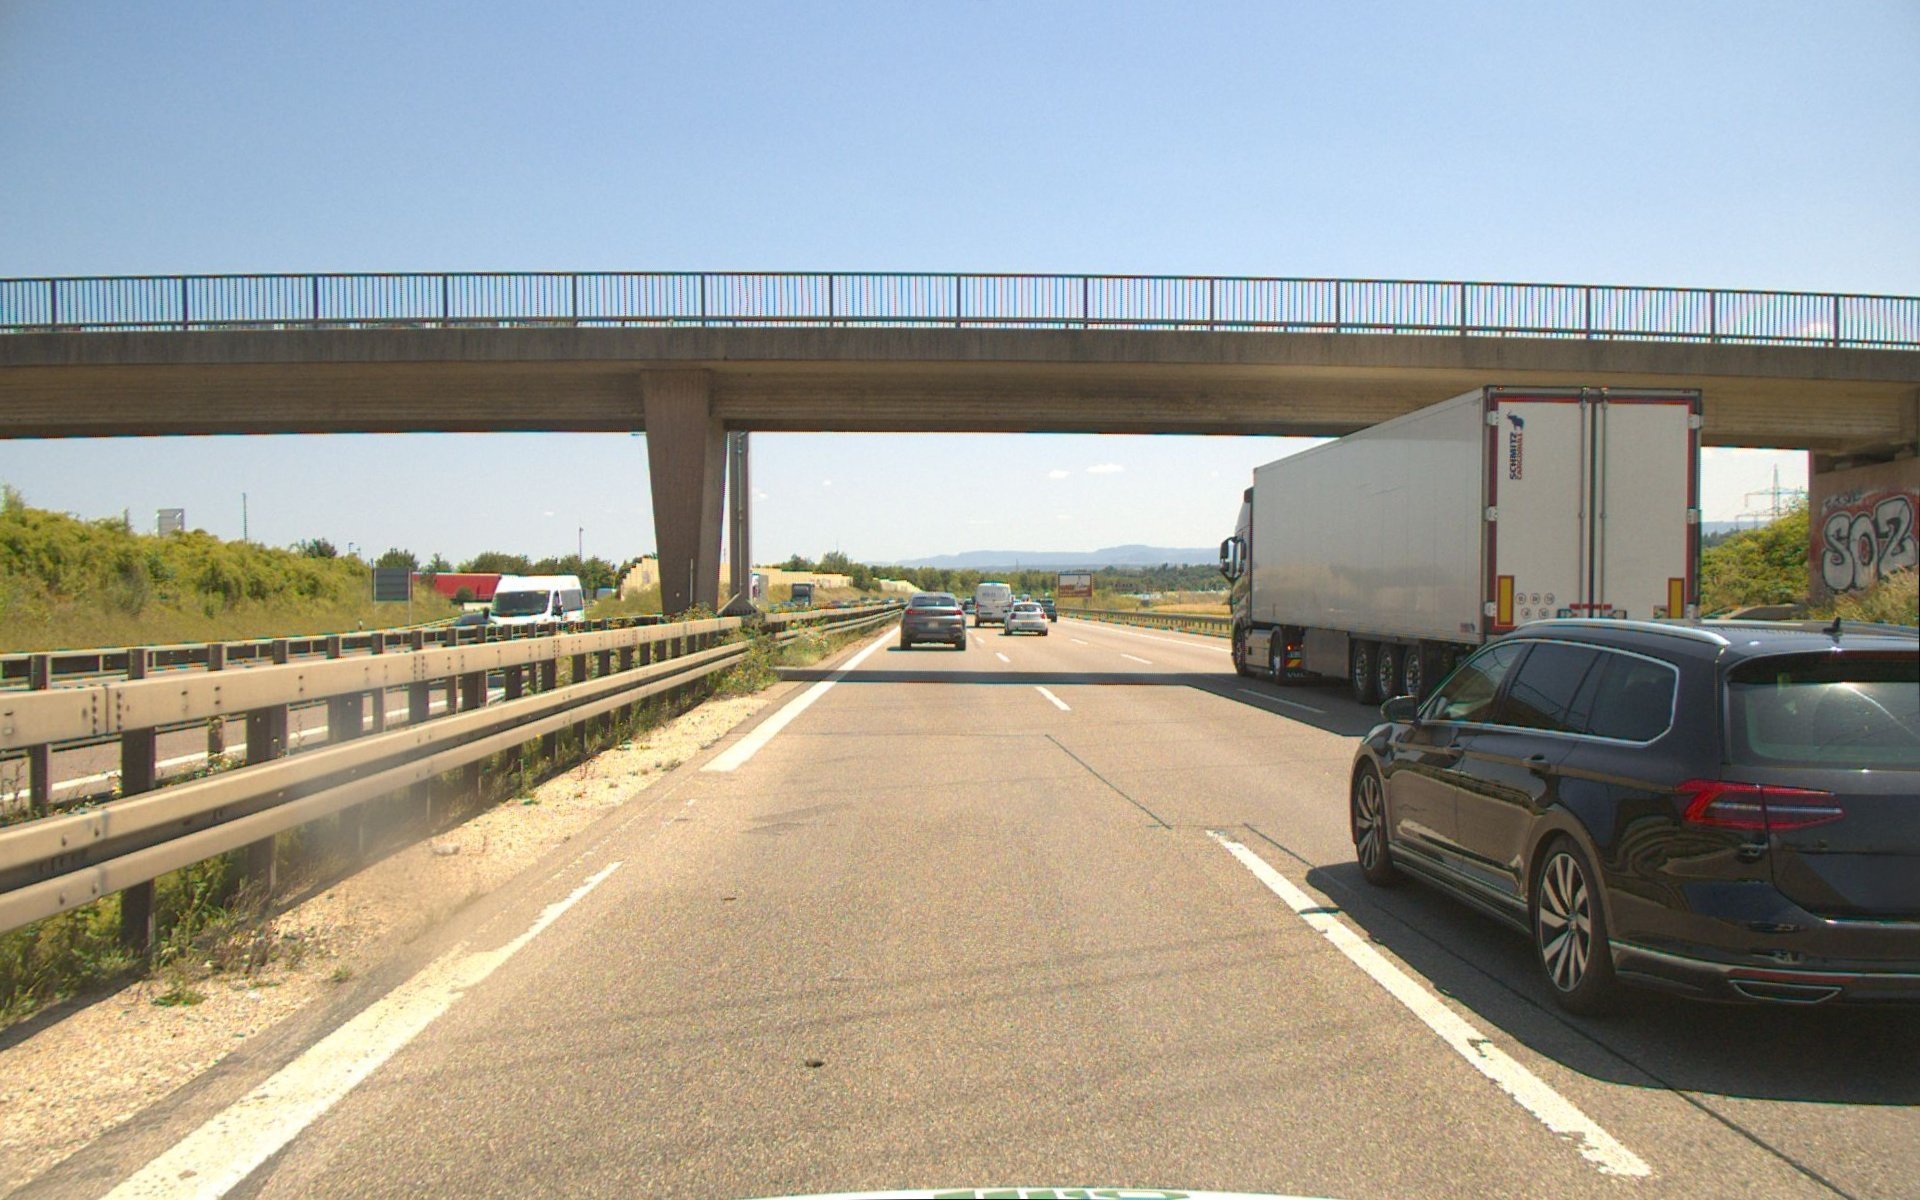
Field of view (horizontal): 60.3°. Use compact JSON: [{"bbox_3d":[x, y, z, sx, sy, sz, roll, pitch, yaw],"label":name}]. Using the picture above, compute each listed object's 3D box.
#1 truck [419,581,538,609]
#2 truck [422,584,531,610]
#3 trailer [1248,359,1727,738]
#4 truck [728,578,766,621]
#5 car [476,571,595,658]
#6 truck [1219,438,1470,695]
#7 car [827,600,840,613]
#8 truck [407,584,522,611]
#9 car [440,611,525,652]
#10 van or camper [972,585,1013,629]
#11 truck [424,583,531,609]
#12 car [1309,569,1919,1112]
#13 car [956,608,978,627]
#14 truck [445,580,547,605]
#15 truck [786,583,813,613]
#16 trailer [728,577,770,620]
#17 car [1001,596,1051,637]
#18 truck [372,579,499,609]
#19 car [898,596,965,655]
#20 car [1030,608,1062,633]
[{"bbox_3d":[-58.463,-0.572,201.274,2.618,3.194,14.350,1,0,45],"label":"truck"},{"bbox_3d":[-63.481,-0.347,217.672,2.618,3.194,14.350,1,0,45],"label":"truck"},{"bbox_3d":[7.198,-0.563,25.628,2.883,4.271,13.594,1,0,-1],"label":"trailer"},{"bbox_3d":[-19.037,-0.044,148.165,2.684,3.743,5.897,1,0,-1],"label":"truck"},{"bbox_3d":[-13.273,0.446,52.132,2.155,2.553,6.329,1,0,-1],"label":"car"},{"bbox_3d":[7.118,-0.547,31.856,2.918,4.302,7.686,1,0,-1],"label":"truck"},{"bbox_3d":[-15.994,0.803,208.713,1.517,1.693,4.225,1,0,-4],"label":"car"},{"bbox_3d":[-62.298,-0.266,208.325,2.618,3.194,14.350,1,0,45],"label":"truck"},{"bbox_3d":[-17.457,1.122,60.629,1.953,1.422,3.999,1,0,-1],"label":"car"},{"bbox_3d":[1.742,0.381,90.393,2.068,2.250,5.264,1,0,-1],"label":"van or camper"},{"bbox_3d":[-64.504,-0.515,221.494,2.618,3.194,14.350,1,0,45],"label":"truck"},{"bbox_3d":[3.088,0.734,7.404,1.894,1.602,4.933,1,0,-1],"label":"car"},{"bbox_3d":[0.674,1.647,155.626,1.953,1.712,3.999,1,0,-1],"label":"car"},{"bbox_3d":[-64.651,-0.986,230.982,2.618,3.194,14.350,1,0,45],"label":"truck"},{"bbox_3d":[-20.176,-0.292,207.848,2.838,3.626,10.447,1,0,-3],"label":"truck"},{"bbox_3d":[-18.926,-0.087,148.703,2.639,3.689,8.613,1,0,-1],"label":"trailer"},{"bbox_3d":[2.830,0.703,71.904,1.953,1.712,3.999,1,0,-1],"label":"car"},{"bbox_3d":[-60.219,-0.639,190.395,2.618,3.194,14.350,1,0,45],"label":"truck"},{"bbox_3d":[-0.890,0.745,49.595,1.814,1.693,3.732,1,0,-4],"label":"car"},{"bbox_3d":[6.062,1.424,117.142,1.953,1.712,3.999,1,0,-1],"label":"car"}]
